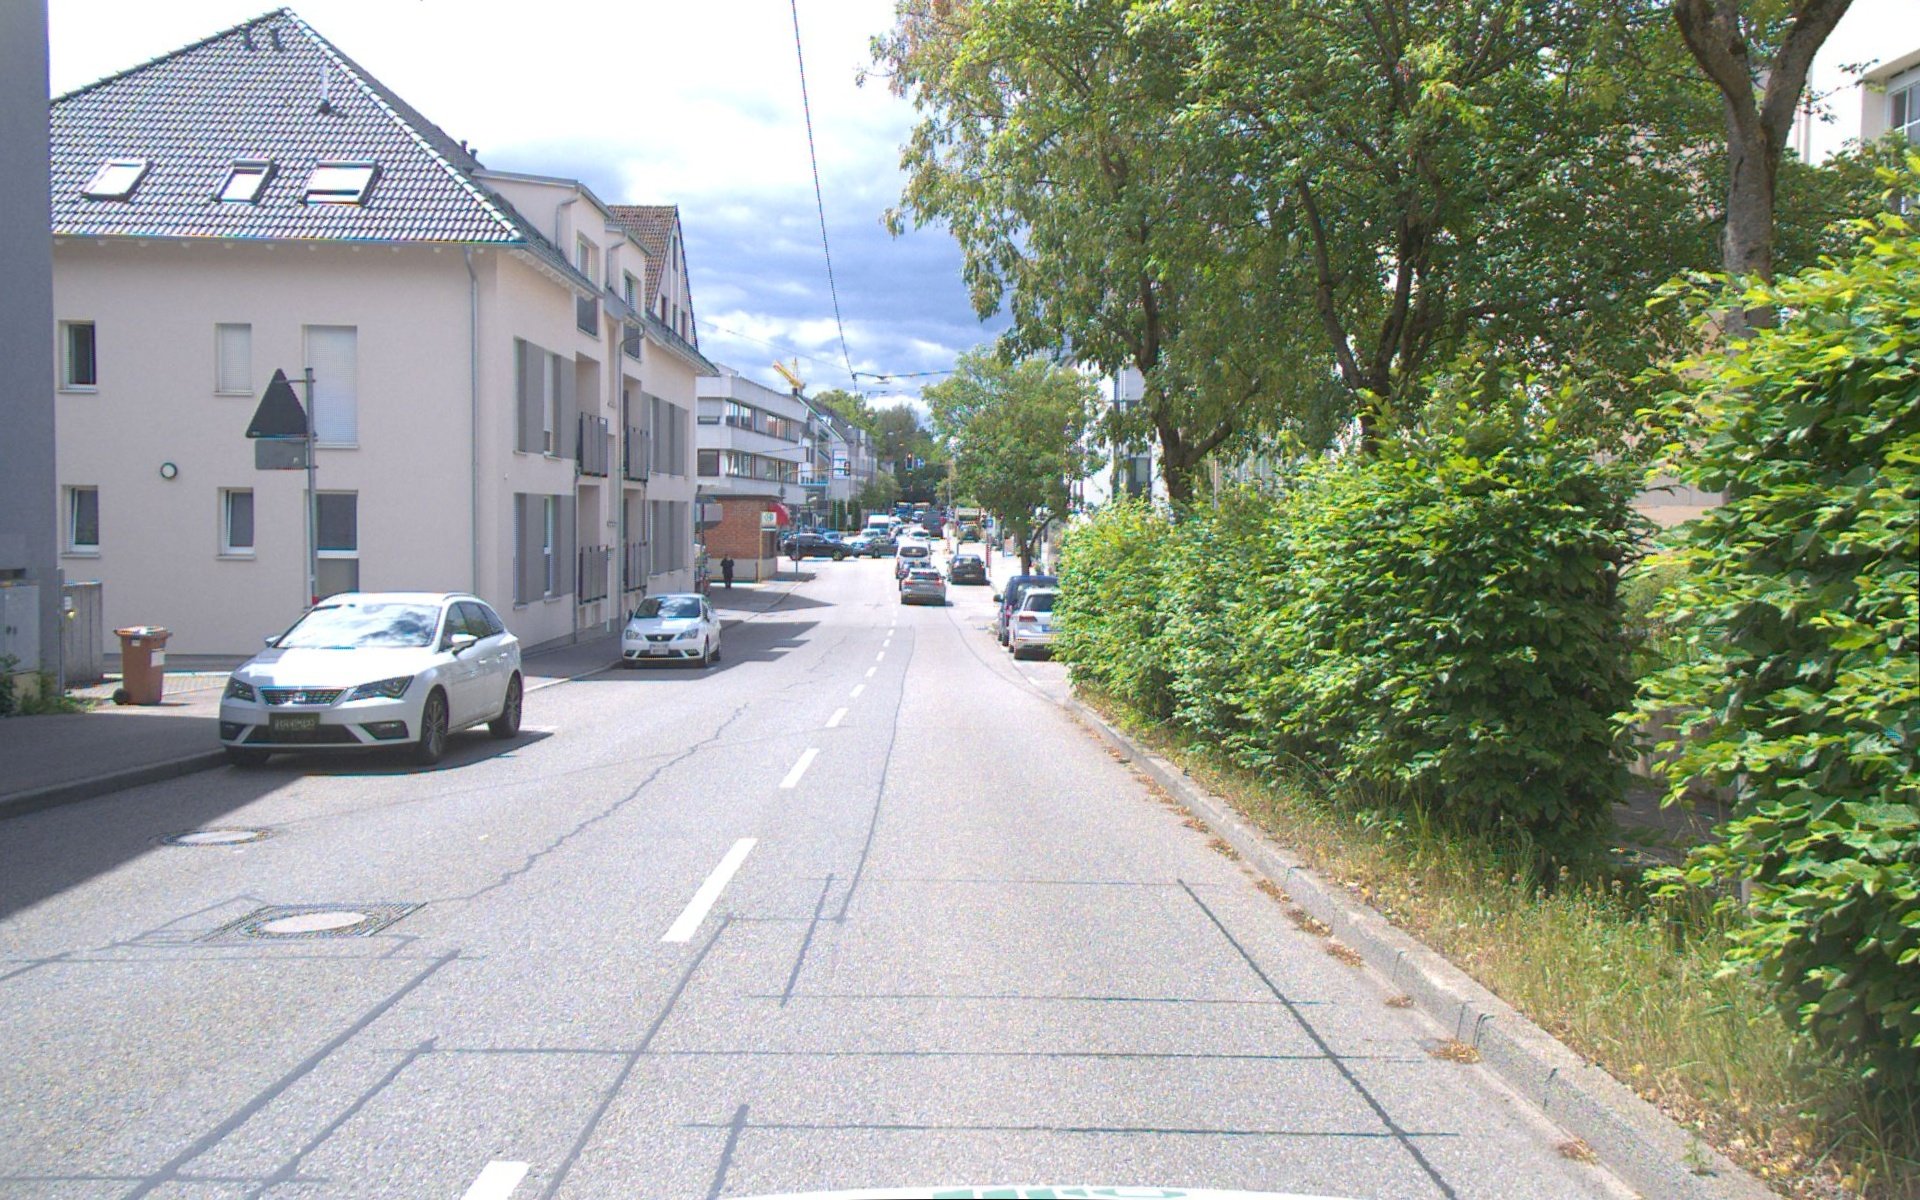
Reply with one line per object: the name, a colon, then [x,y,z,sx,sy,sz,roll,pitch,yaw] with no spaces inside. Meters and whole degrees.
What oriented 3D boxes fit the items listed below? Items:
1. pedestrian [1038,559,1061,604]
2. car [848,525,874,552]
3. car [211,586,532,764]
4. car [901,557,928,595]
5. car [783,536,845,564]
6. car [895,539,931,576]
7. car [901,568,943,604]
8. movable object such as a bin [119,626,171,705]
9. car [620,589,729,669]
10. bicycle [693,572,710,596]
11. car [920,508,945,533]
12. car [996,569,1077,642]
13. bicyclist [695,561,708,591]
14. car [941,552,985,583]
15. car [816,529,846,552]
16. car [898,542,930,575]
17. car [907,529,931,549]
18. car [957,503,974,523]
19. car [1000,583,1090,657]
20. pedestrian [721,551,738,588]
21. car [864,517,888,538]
pedestrian: [3.416,-0.691,63.085,0.723,1.676,0.615,3,-1,-7]
car: [-6.752,-4.190,113.090,1.602,1.684,3.849,2,1,-1]
car: [-5.336,0.603,15.525,1.663,1.414,3.865,2,1,-1]
car: [-2.143,-1.152,77.885,1.248,1.553,3.051,1,4,-2]
car: [-9.321,-3.188,105.553,3.608,1.642,1.561,2,1,-29]
car: [-2.506,-2.270,88.403,1.799,1.894,3.850,2,1,-1]
car: [-1.585,-0.601,69.187,1.709,1.441,3.999,1,1,-1]
movable object such as a bin: [-9.983,0.797,20.273,0.445,0.945,0.399,0,0,-2]
car: [-5.712,0.544,33.464,1.614,1.443,3.698,2,1,-1]
bicycle: [-10.635,-0.655,68.108,0.457,0.876,1.777,3,3,-1]
car: [-2.791,-8.089,168.938,2.387,2.358,5.326,3,1,-2]
car: [1.989,0.121,44.293,1.807,1.798,4.514,2,1,-1]
bicyclist: [-10.623,-0.981,68.064,0.448,1.199,0.625,1,2,-2]
car: [0.121,-1.680,84.877,1.720,1.394,3.995,1,4,-8]
car: [-9.968,-4.580,127.825,1.834,1.668,4.001,3,1,1]
car: [-2.735,-2.463,99.167,1.799,1.894,3.850,2,1,-1]
car: [-3.305,-4.897,133.188,1.850,1.534,3.999,0,1,-1]
car: [0.608,-9.580,182.432,1.765,2.049,3.999,1,1,-1]
car: [1.913,0.420,38.519,1.750,1.535,4.364,2,1,-1]
pedestrian: [-10.448,-1.393,75.002,0.615,1.630,0.562,2,1,-1]
car: [-7.414,-6.376,145.897,1.834,1.668,4.001,1,1,1]
